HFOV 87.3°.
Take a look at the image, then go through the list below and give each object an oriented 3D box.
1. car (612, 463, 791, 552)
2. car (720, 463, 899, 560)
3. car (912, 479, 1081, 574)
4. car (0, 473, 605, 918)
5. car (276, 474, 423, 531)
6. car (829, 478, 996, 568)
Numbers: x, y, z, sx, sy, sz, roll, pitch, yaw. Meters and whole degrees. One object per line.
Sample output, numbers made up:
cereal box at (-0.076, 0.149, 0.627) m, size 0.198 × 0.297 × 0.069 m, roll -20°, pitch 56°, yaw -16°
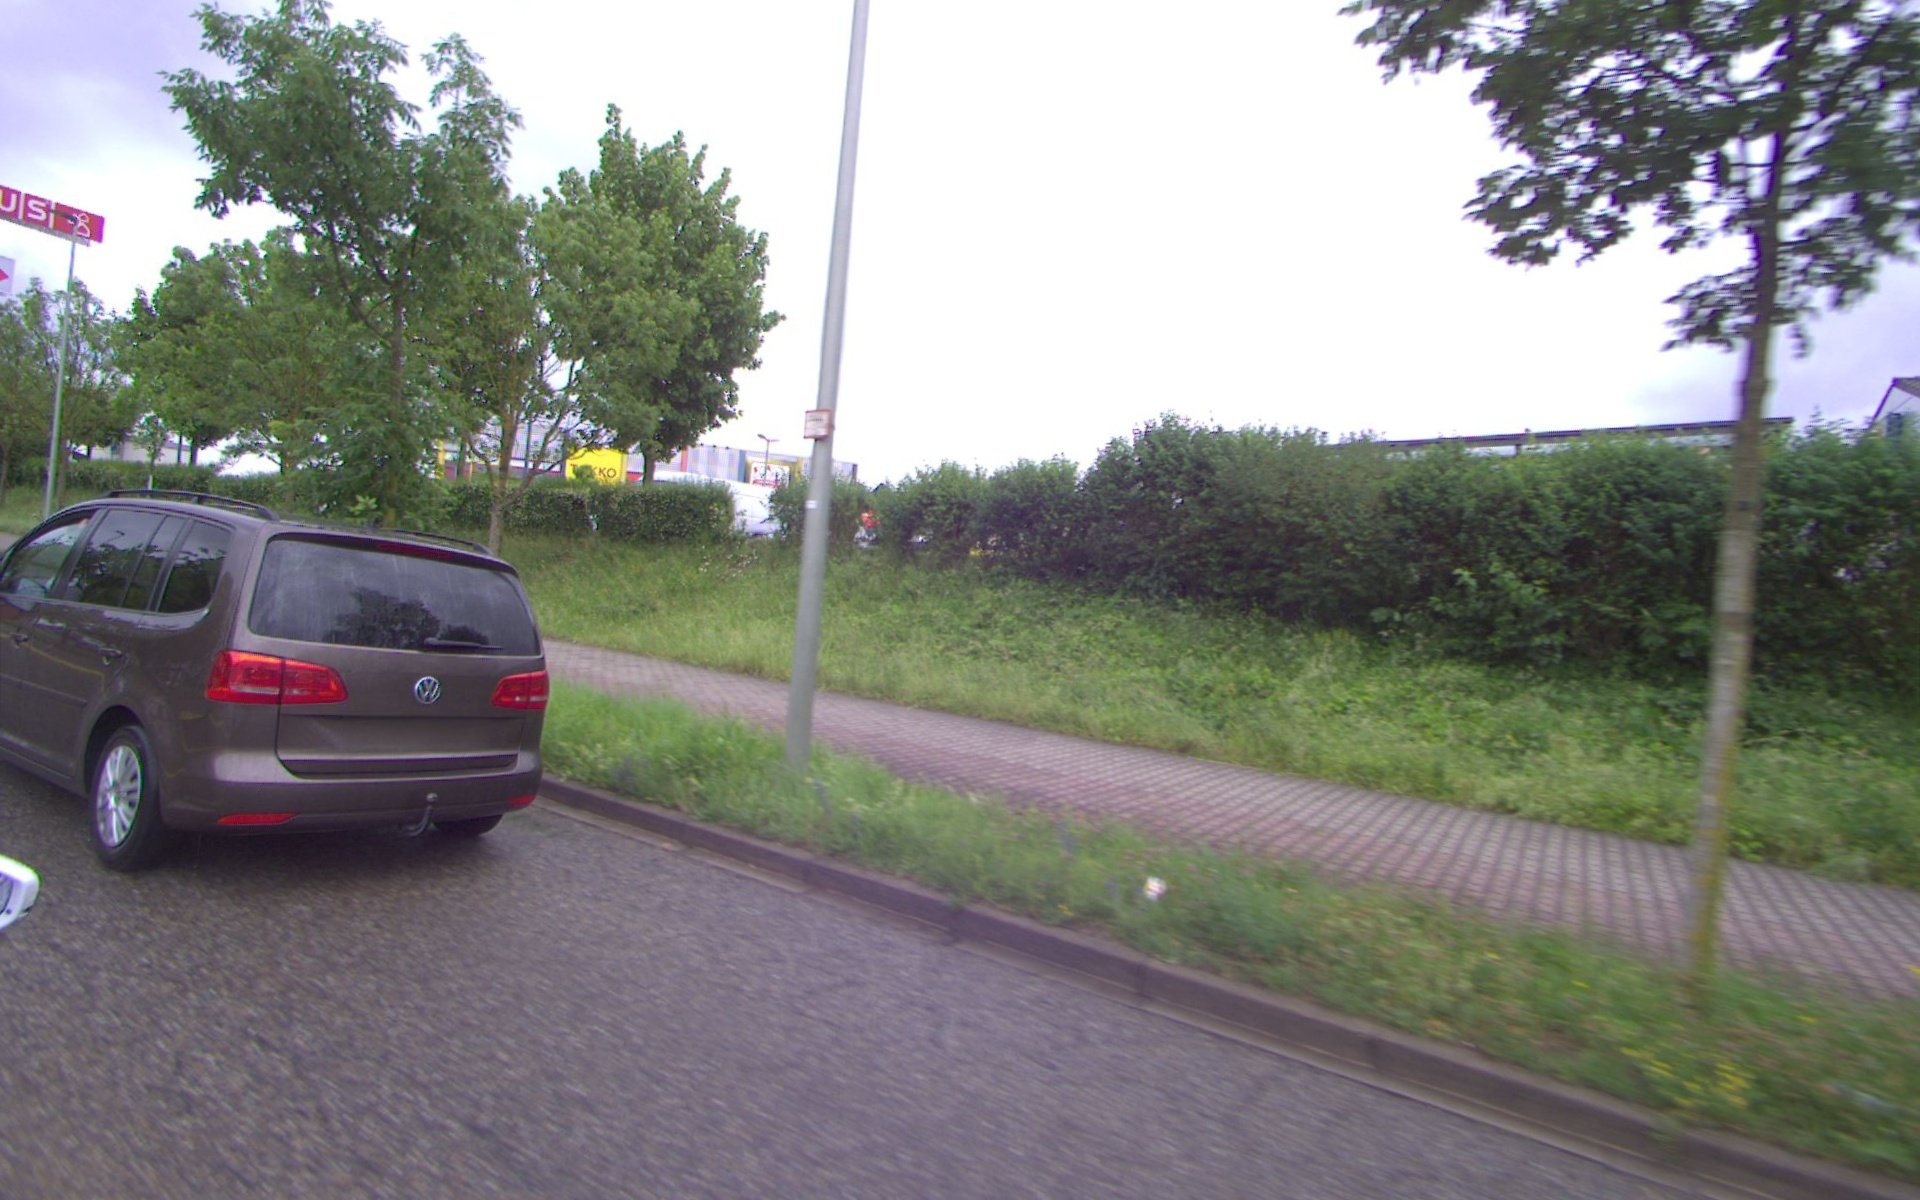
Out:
car at (-7.781, -2.751, 30.958) m, size 2.084 × 2.171 × 5.613 m, roll 6°, pitch 3°, yaw 26°
car at (-4.067, -2.394, 28.358) m, size 2.084 × 2.171 × 5.613 m, roll 6°, pitch 3°, yaw 26°
car at (0.923, -1.622, 22.902) m, size 1.836 × 1.759 × 3.982 m, roll 6°, pitch 3°, yaw 36°
car at (-4.146, 0.280, 5.599) m, size 4.148 × 1.599 × 1.689 m, roll 7°, pitch -2°, yaw 31°
car at (-22.991, -3.650, 38.041) m, size 1.895 × 1.651 × 4.350 m, roll 6°, pitch 3°, yaw 28°
car at (-1.059, -1.802, 24.159) m, size 1.836 × 1.759 × 3.982 m, roll 6°, pitch 3°, yaw 36°
